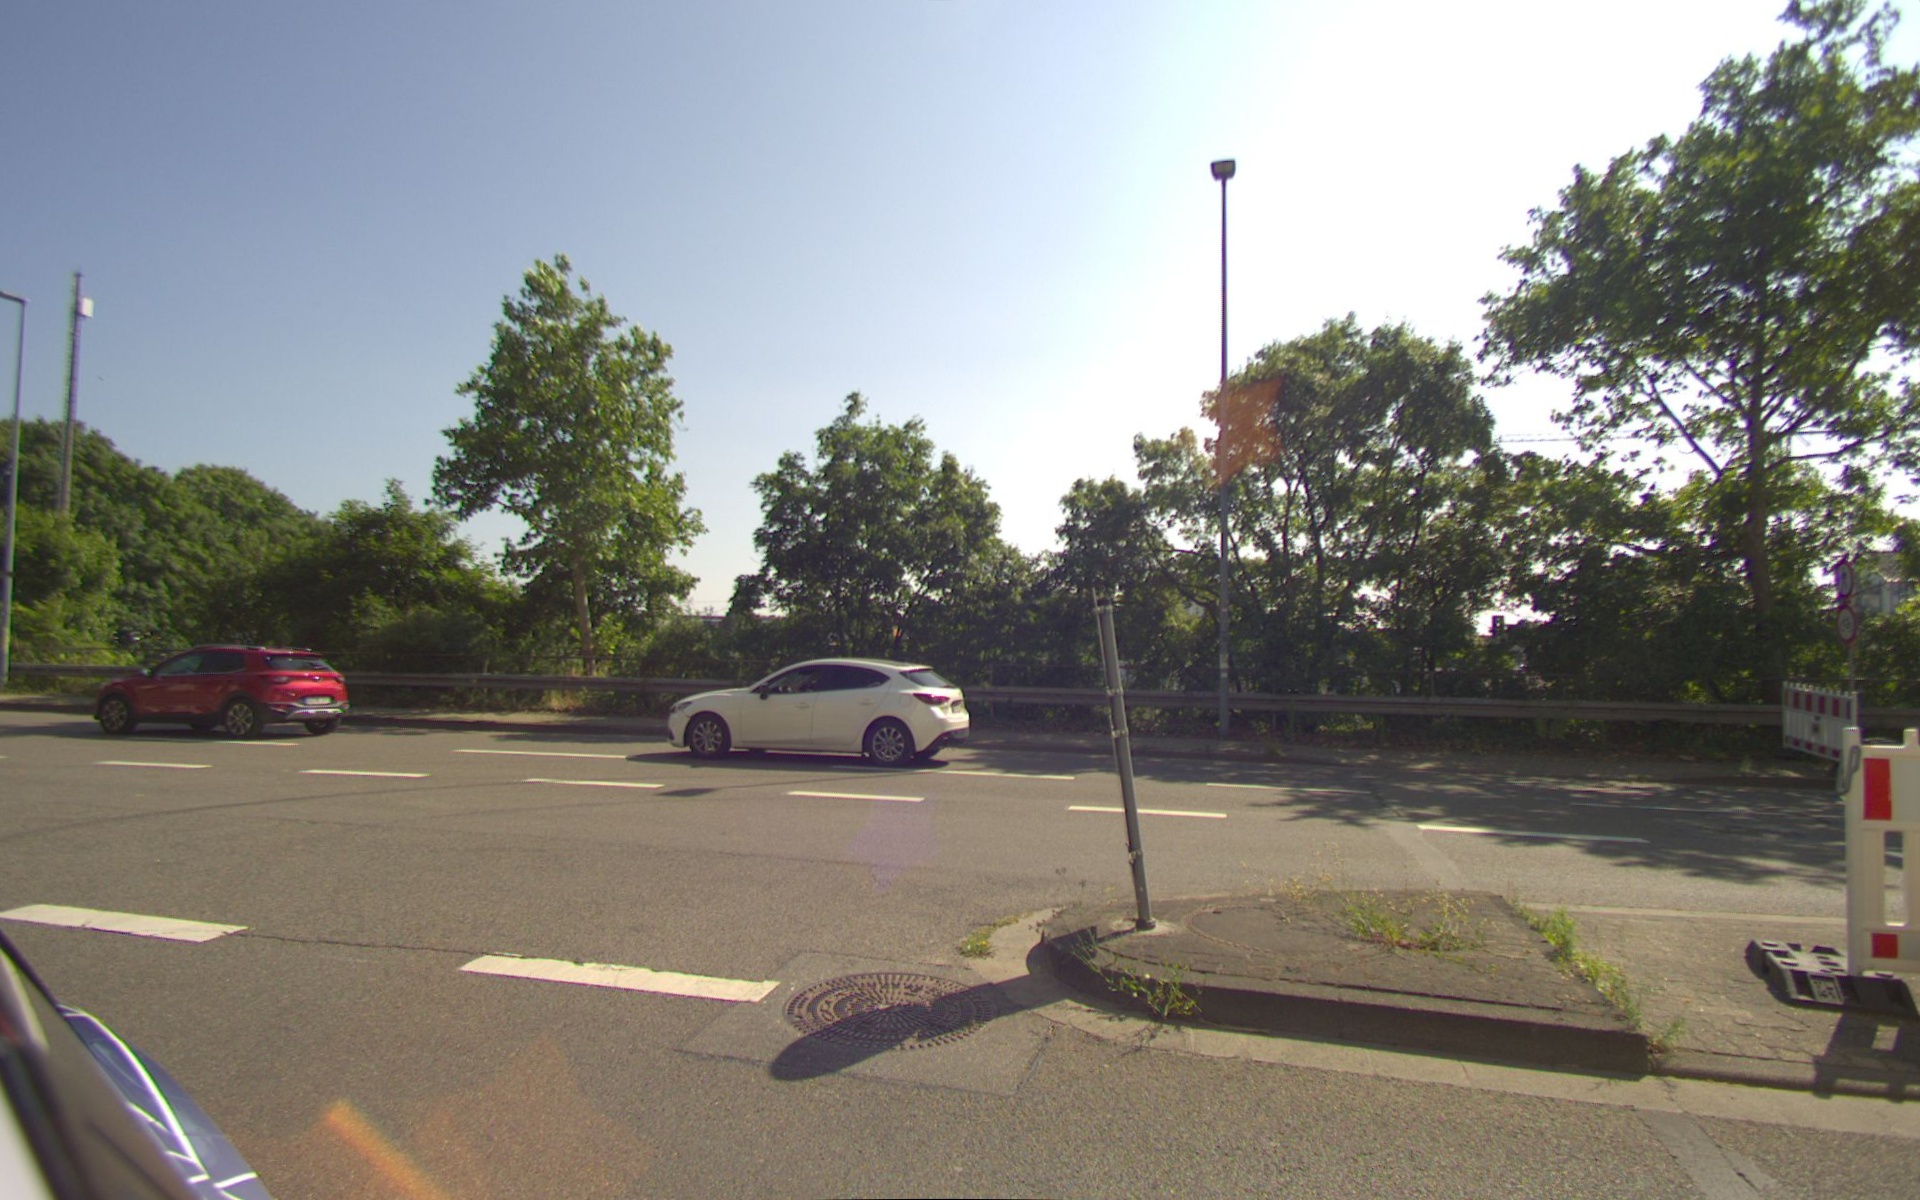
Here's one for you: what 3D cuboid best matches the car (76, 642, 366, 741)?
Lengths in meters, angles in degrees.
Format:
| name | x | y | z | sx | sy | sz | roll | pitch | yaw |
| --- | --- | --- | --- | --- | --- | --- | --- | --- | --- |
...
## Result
| name | x | y | z | sx | sy | sz | roll | pitch | yaw |
| --- | --- | --- | --- | --- | --- | --- | --- | --- | --- |
| car | -12.556 | 1.524 | 17.305 | 3.923 | 1.531 | 1.796 | 0 | -4 | 12 |

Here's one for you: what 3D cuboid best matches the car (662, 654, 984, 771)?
| name | x | y | z | sx | sy | sz | roll | pitch | yaw |
| --- | --- | --- | --- | --- | --- | --- | --- | --- | --- |
| car | -1.895 | 1.545 | 14.453 | 4.166 | 1.464 | 1.861 | 0 | -5 | 15 |
